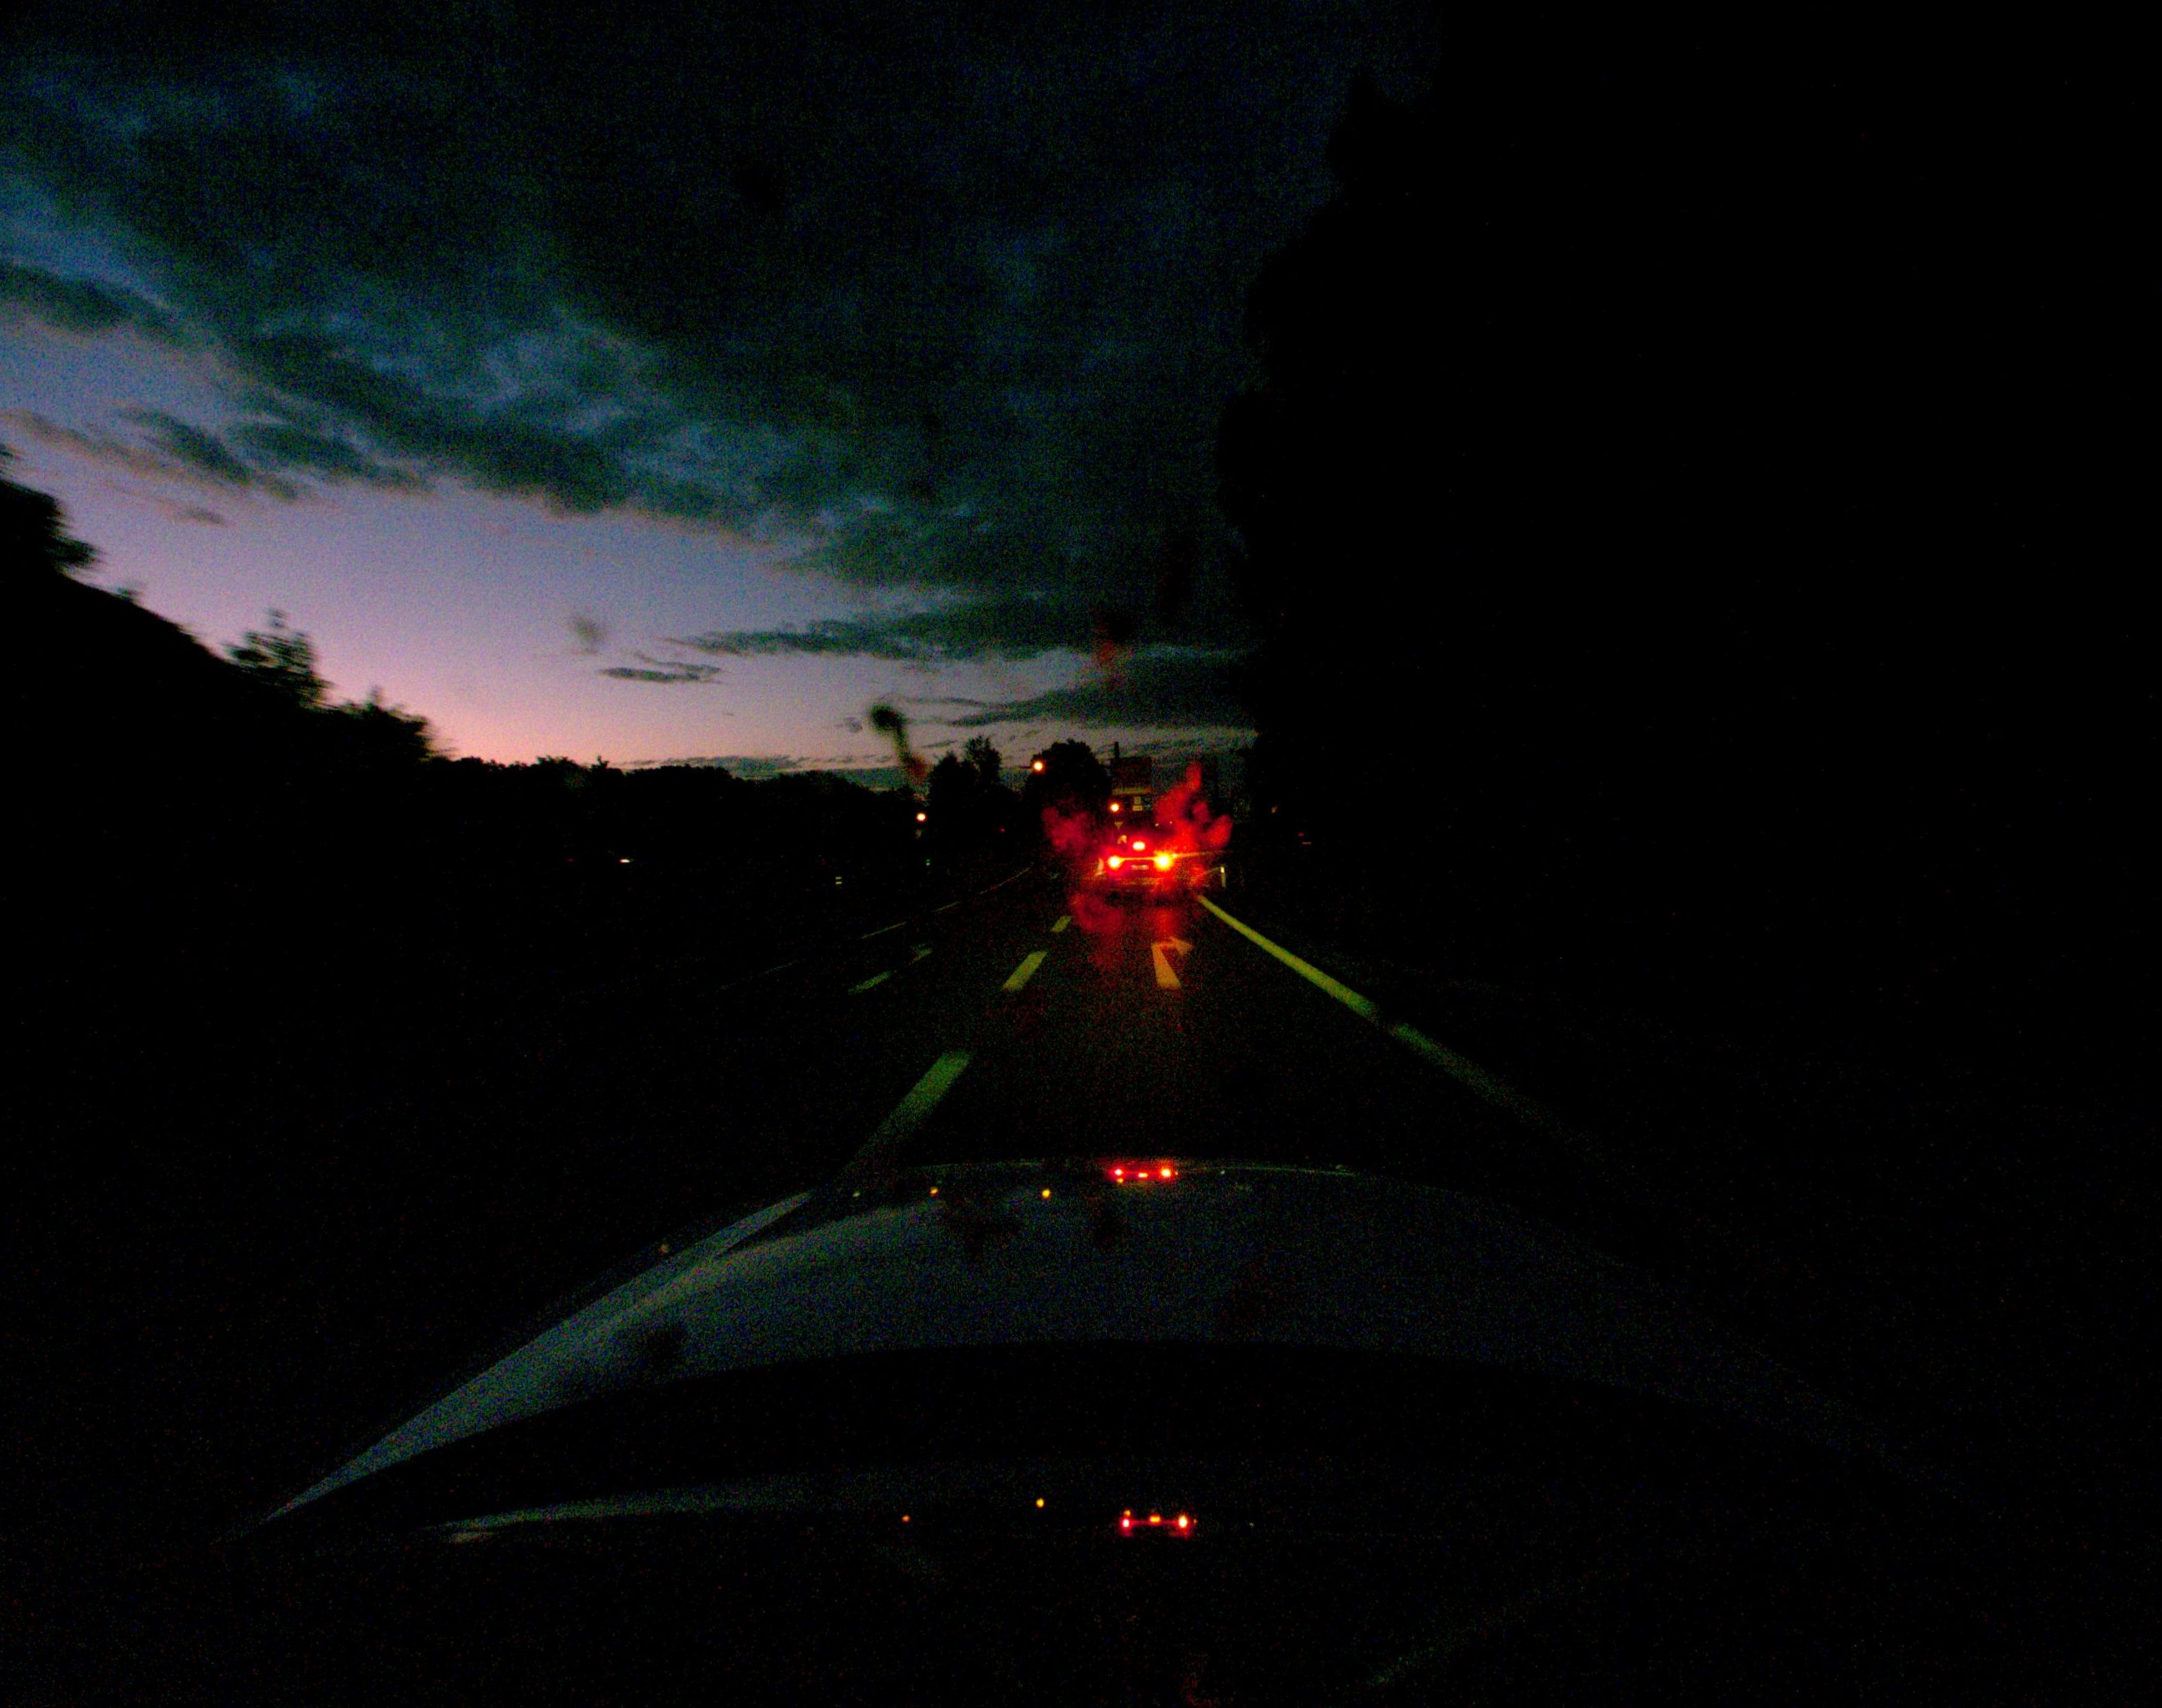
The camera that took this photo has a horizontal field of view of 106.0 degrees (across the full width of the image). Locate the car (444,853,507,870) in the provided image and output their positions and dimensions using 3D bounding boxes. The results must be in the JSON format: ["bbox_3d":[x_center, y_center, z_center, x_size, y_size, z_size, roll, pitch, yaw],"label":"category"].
[{"bbox_3d":[-53.582,0.682,72.096,3.989,1.453,1.992,0,0,-12],"label":"car"}]

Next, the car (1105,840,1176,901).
[{"bbox_3d":[1.666,0.407,24.193,1.894,1.619,4.558,0,1,2],"label":"car"}]

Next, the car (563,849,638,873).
[{"bbox_3d":[-33.241,0.497,56.483,3.991,1.453,1.991,-3,0,-13],"label":"car"}]
